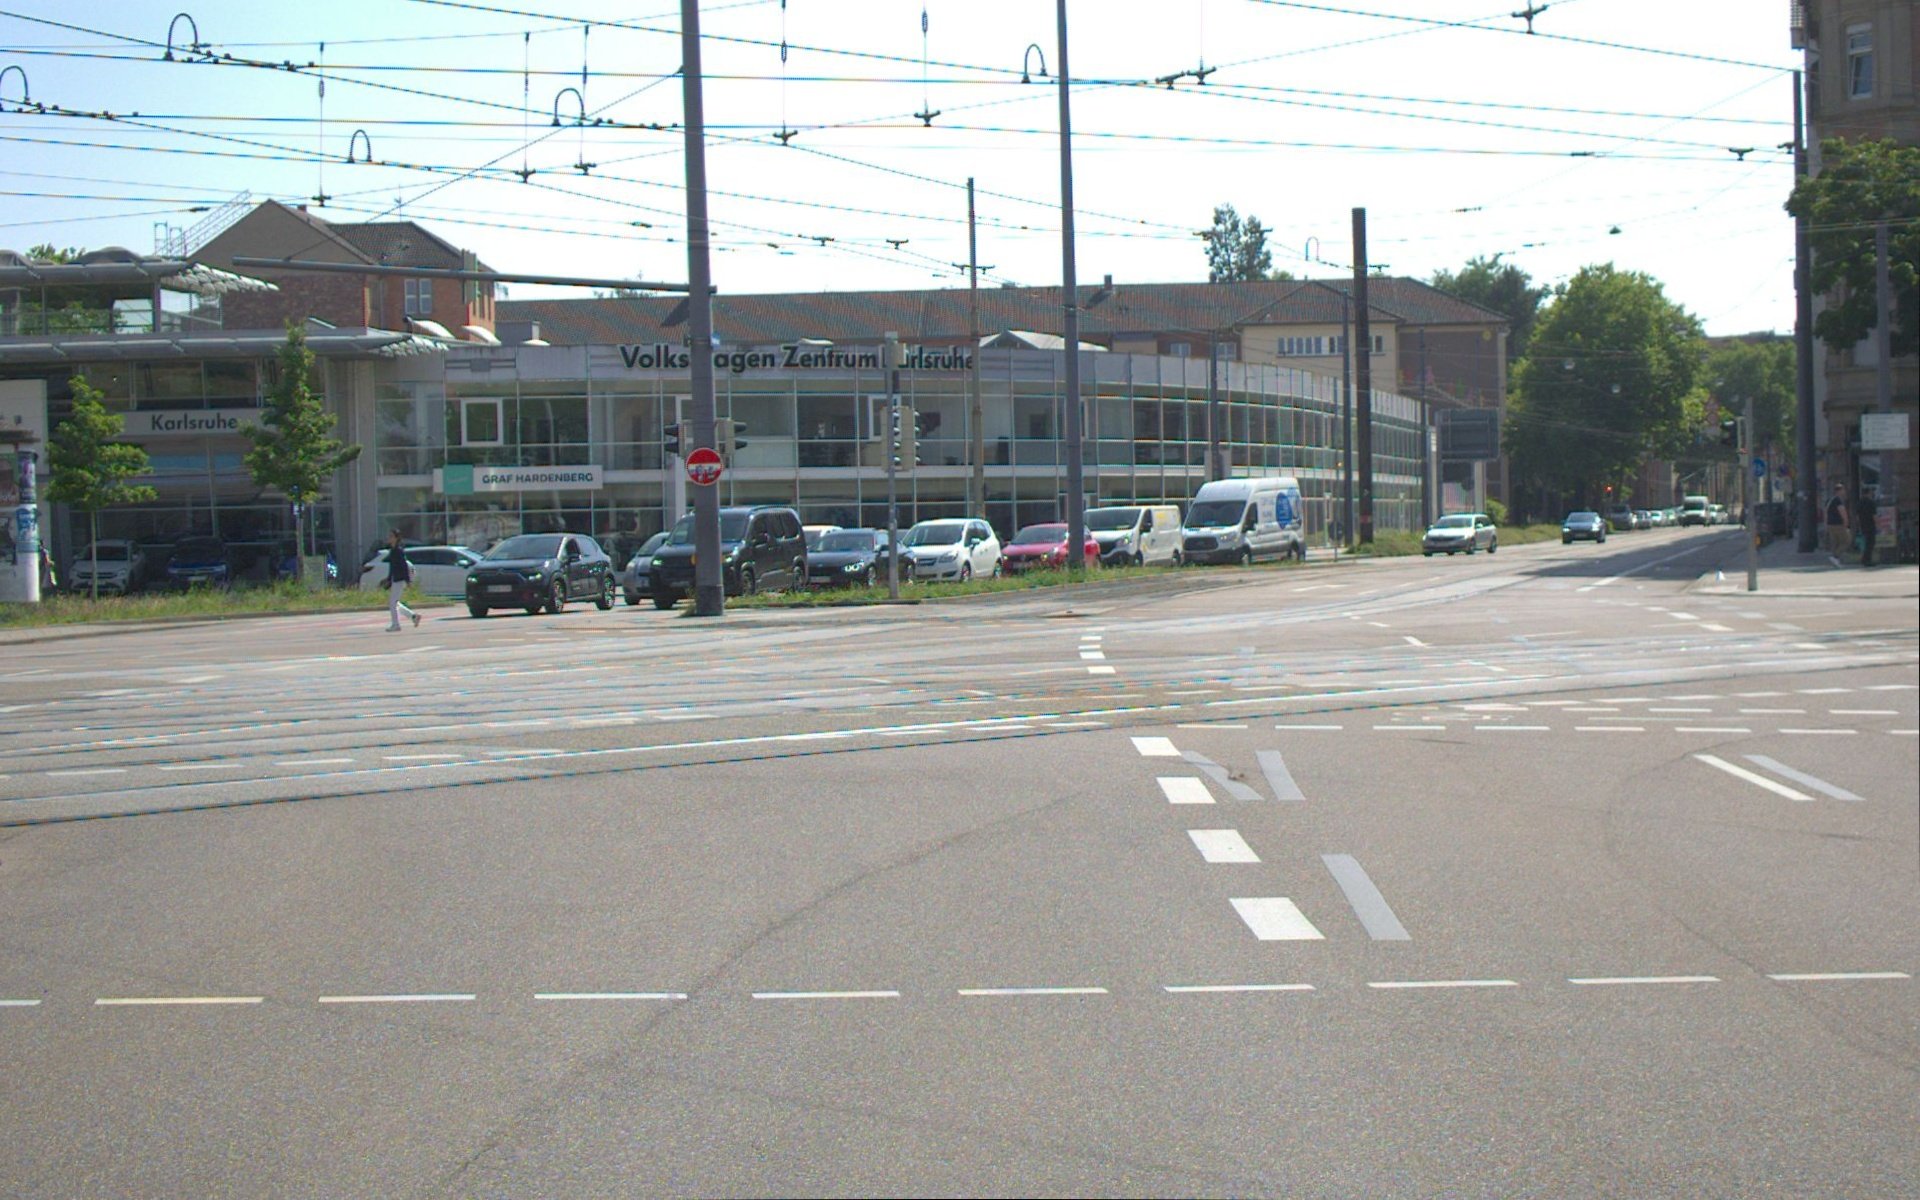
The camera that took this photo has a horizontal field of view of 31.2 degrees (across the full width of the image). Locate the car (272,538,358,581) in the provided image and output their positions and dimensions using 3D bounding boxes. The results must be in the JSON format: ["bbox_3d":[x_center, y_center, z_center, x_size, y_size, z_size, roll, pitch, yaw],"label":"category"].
[{"bbox_3d":[-18.735,-1.186,99.977,1.830,1.191,4.000,1,1,-2],"label":"car"}]

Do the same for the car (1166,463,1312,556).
[{"bbox_3d":[8.134,-2.586,99.678,2.211,2.566,5.867,1,1,26],"label":"car"}]

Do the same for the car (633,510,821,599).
[{"bbox_3d":[-4.319,-0.881,64.569,1.962,1.582,4.713,-1,1,17],"label":"car"}]

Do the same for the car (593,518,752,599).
[{"bbox_3d":[-5.876,-0.830,70.797,1.896,1.582,3.997,-1,0,17],"label":"car"}]

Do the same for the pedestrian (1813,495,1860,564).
[{"bbox_3d":[18.376,-1.478,72.091,0.612,1.428,0.712,0,0,-38],"label":"pedestrian"}]

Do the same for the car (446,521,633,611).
[{"bbox_3d":[-7.773,-0.620,63.987,1.893,1.582,4.207,-1,0,17],"label":"car"}]

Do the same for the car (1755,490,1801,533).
[{"bbox_3d":[39.341,-4.264,165.257,2.110,2.007,3.998,-1,1,14],"label":"car"}]

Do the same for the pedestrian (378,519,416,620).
[{"bbox_3d":[-8.968,-0.482,54.786,0.453,1.599,0.400,1,0,-36],"label":"pedestrian"}]

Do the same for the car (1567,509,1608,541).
[{"bbox_3d":[28.740,-3.439,157.513,1.385,1.409,3.010,1,1,19],"label":"car"}]

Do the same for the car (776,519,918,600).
[{"bbox_3d":[-2.308,-0.824,71.147,1.895,1.582,3.997,-1,0,14],"label":"car"}]

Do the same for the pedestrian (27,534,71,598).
[{"bbox_3d":[-22.591,-0.845,85.233,0.953,1.574,0.534,1,0,-3],"label":"pedestrian"}]

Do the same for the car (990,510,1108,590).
[{"bbox_3d":[2.240,-1.214,85.335,1.896,1.910,4.197,-1,0,17],"label":"car"}]

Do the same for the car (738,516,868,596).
[{"bbox_3d":[-3.530,-0.984,78.118,1.653,1.733,4.197,-1,0,17],"label":"car"}]

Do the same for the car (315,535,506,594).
[{"bbox_3d":[-14.020,-0.901,87.789,4.587,1.431,1.443,1,0,13],"label":"car"}]

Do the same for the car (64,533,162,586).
[{"bbox_3d":[-24.712,-1.194,100.394,1.993,1.481,4.000,1,1,-2],"label":"car"}]

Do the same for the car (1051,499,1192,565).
[{"bbox_3d":[4.380,-1.837,92.380,2.188,1.675,5.024,-1,1,22],"label":"car"}]

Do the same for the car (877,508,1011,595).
[{"bbox_3d":[-0.332,-1.089,78.437,1.896,1.910,4.197,-1,0,17],"label":"car"}]

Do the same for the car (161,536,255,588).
[{"bbox_3d":[-21.928,-1.116,100.367,1.993,1.481,4.000,1,1,-2],"label":"car"}]

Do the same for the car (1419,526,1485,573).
[{"bbox_3d":[17.568,-1.798,122.636,1.386,1.619,3.335,1,1,25],"label":"car"}]
